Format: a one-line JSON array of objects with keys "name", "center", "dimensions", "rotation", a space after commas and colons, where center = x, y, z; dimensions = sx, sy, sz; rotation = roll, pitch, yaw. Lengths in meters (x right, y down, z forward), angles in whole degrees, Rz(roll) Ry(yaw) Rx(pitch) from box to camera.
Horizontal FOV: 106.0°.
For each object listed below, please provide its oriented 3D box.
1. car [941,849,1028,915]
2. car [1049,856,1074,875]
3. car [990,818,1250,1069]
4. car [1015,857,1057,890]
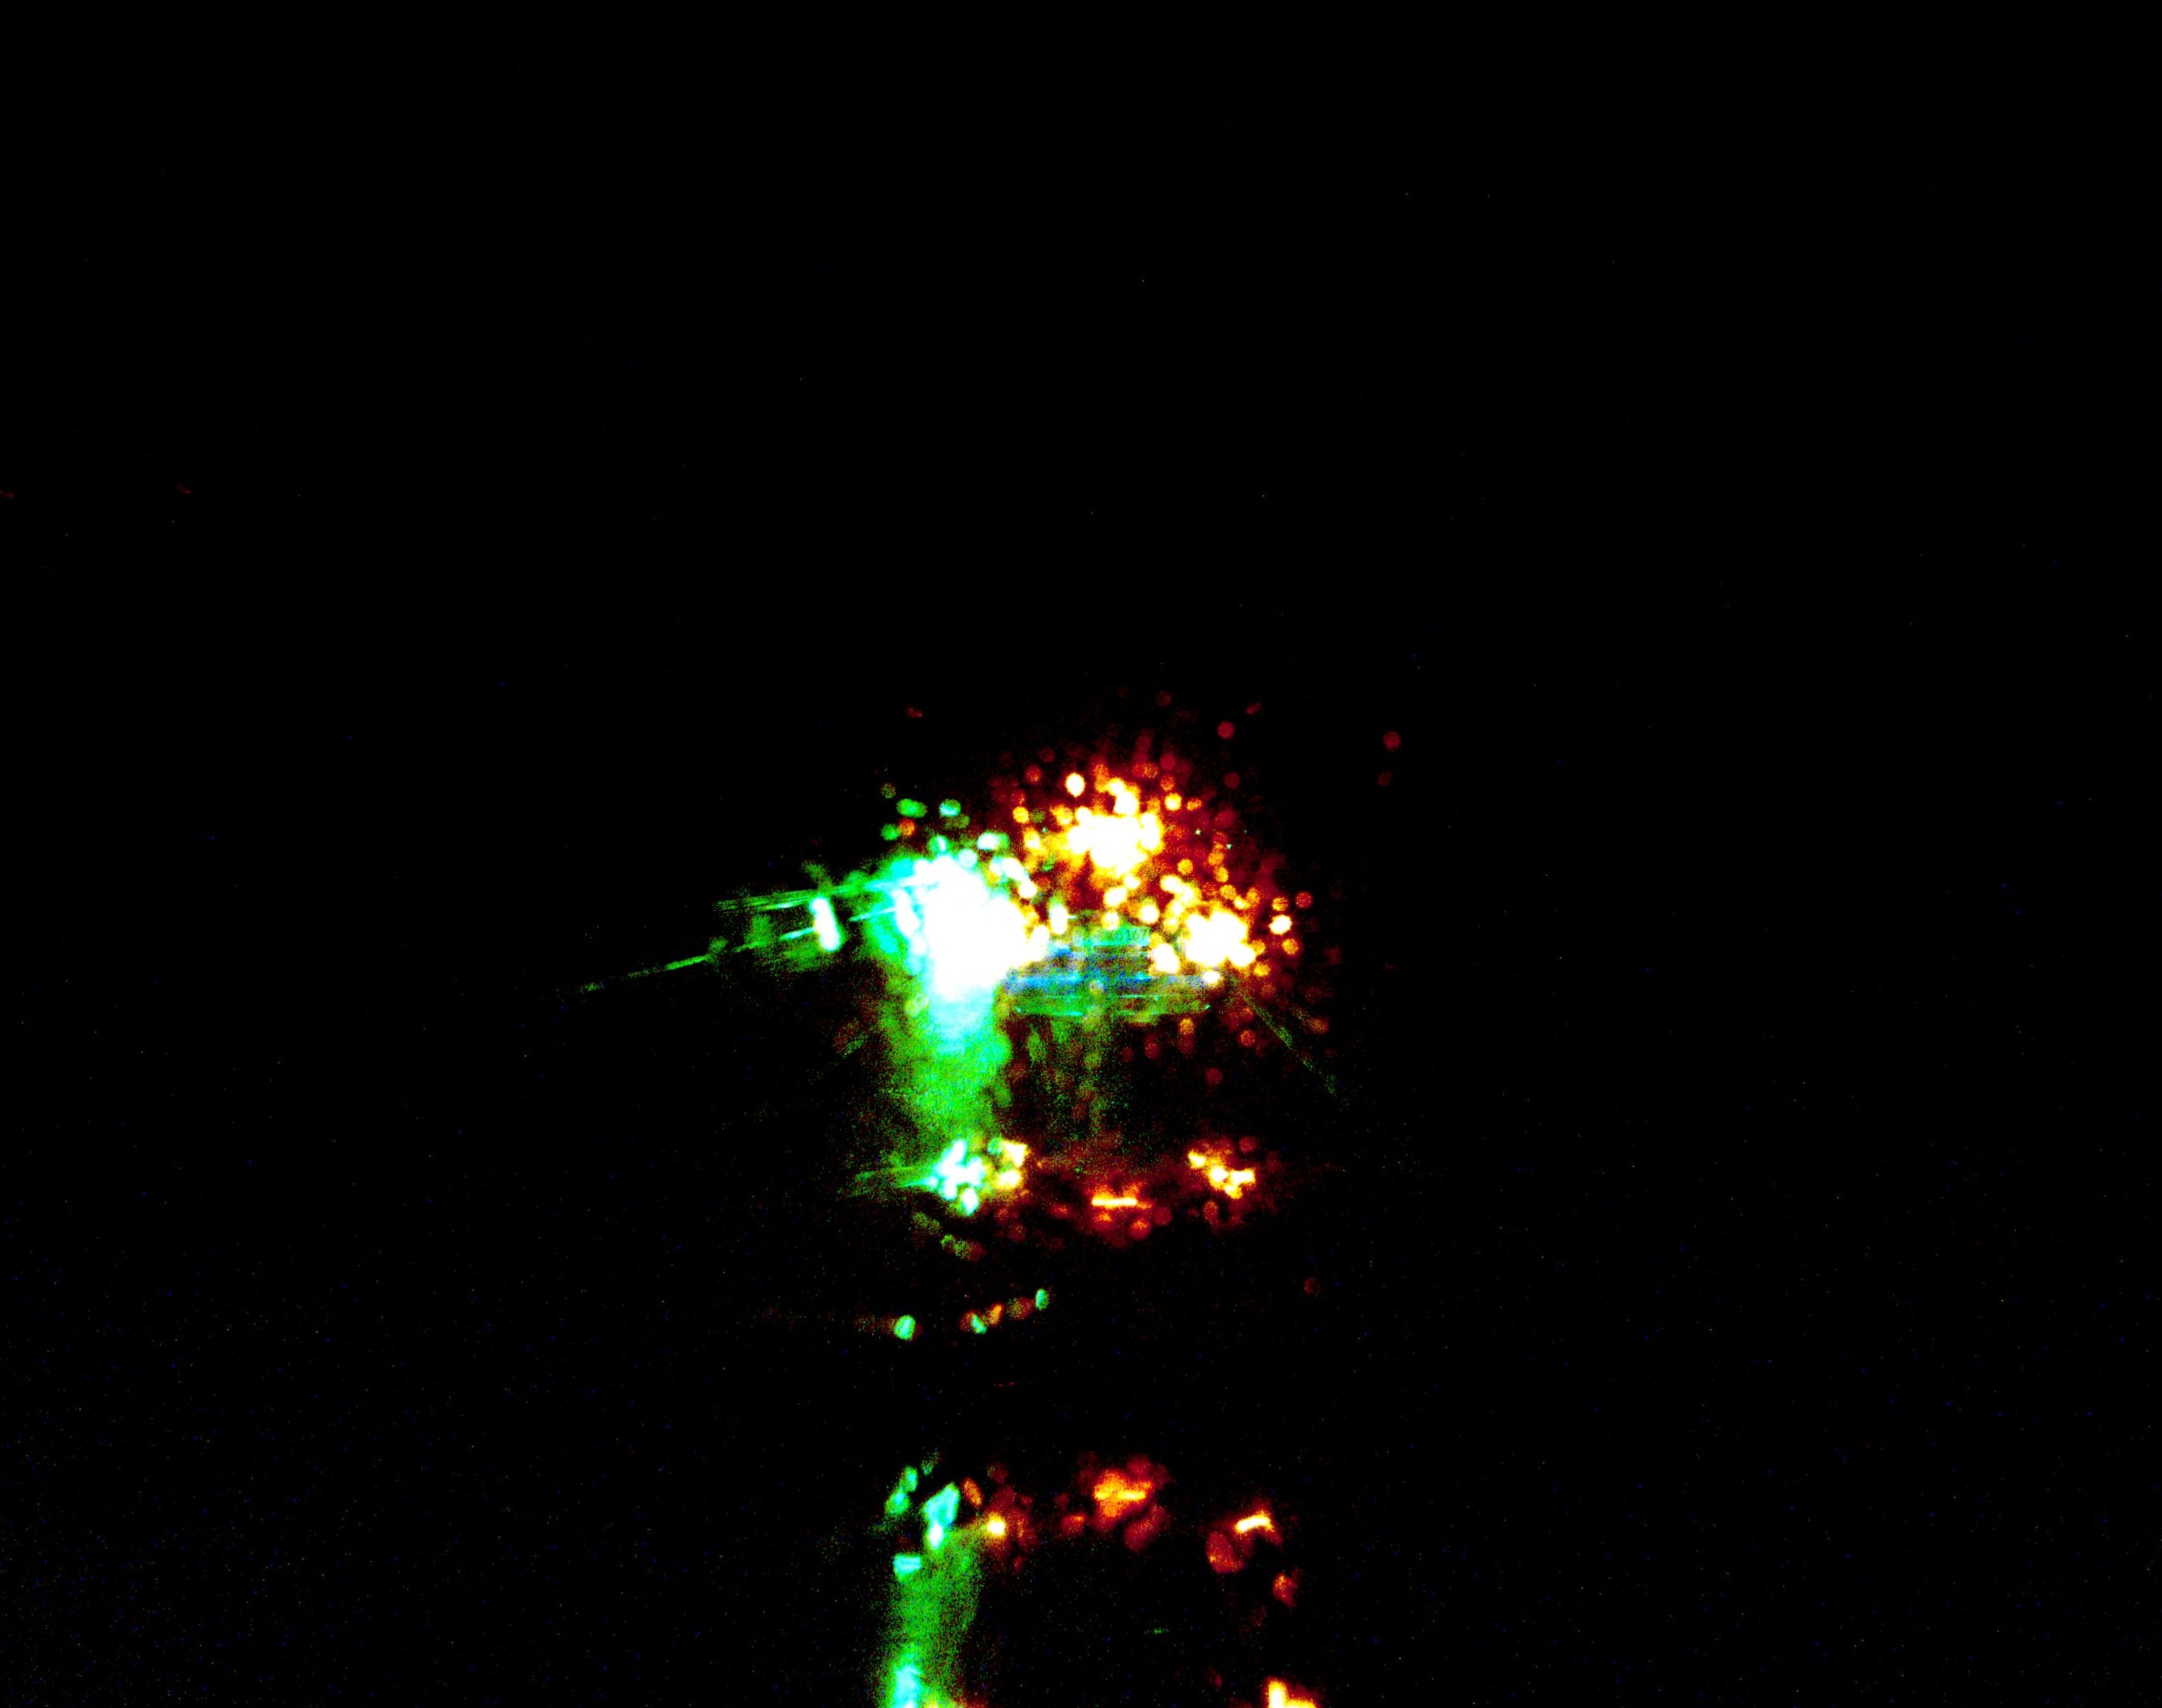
[{"name": "car", "center": [-2.668, 0.737, 23.505], "dimensions": [1.945, 1.656, 4.124], "rotation": [-2, 0, 0]}, {"name": "car", "center": [-1.598, 0.926, 68.271], "dimensions": [1.897, 1.470, 4.275], "rotation": [1, 0, 1]}, {"name": "car", "center": [0.347, 0.626, 7.602], "dimensions": [1.768, 1.712, 4.002], "rotation": [-1, 0, 2]}, {"name": "car", "center": [-2.253, 0.977, 41.715], "dimensions": [1.831, 1.546, 4.258], "rotation": [0, 0, 1]}]
